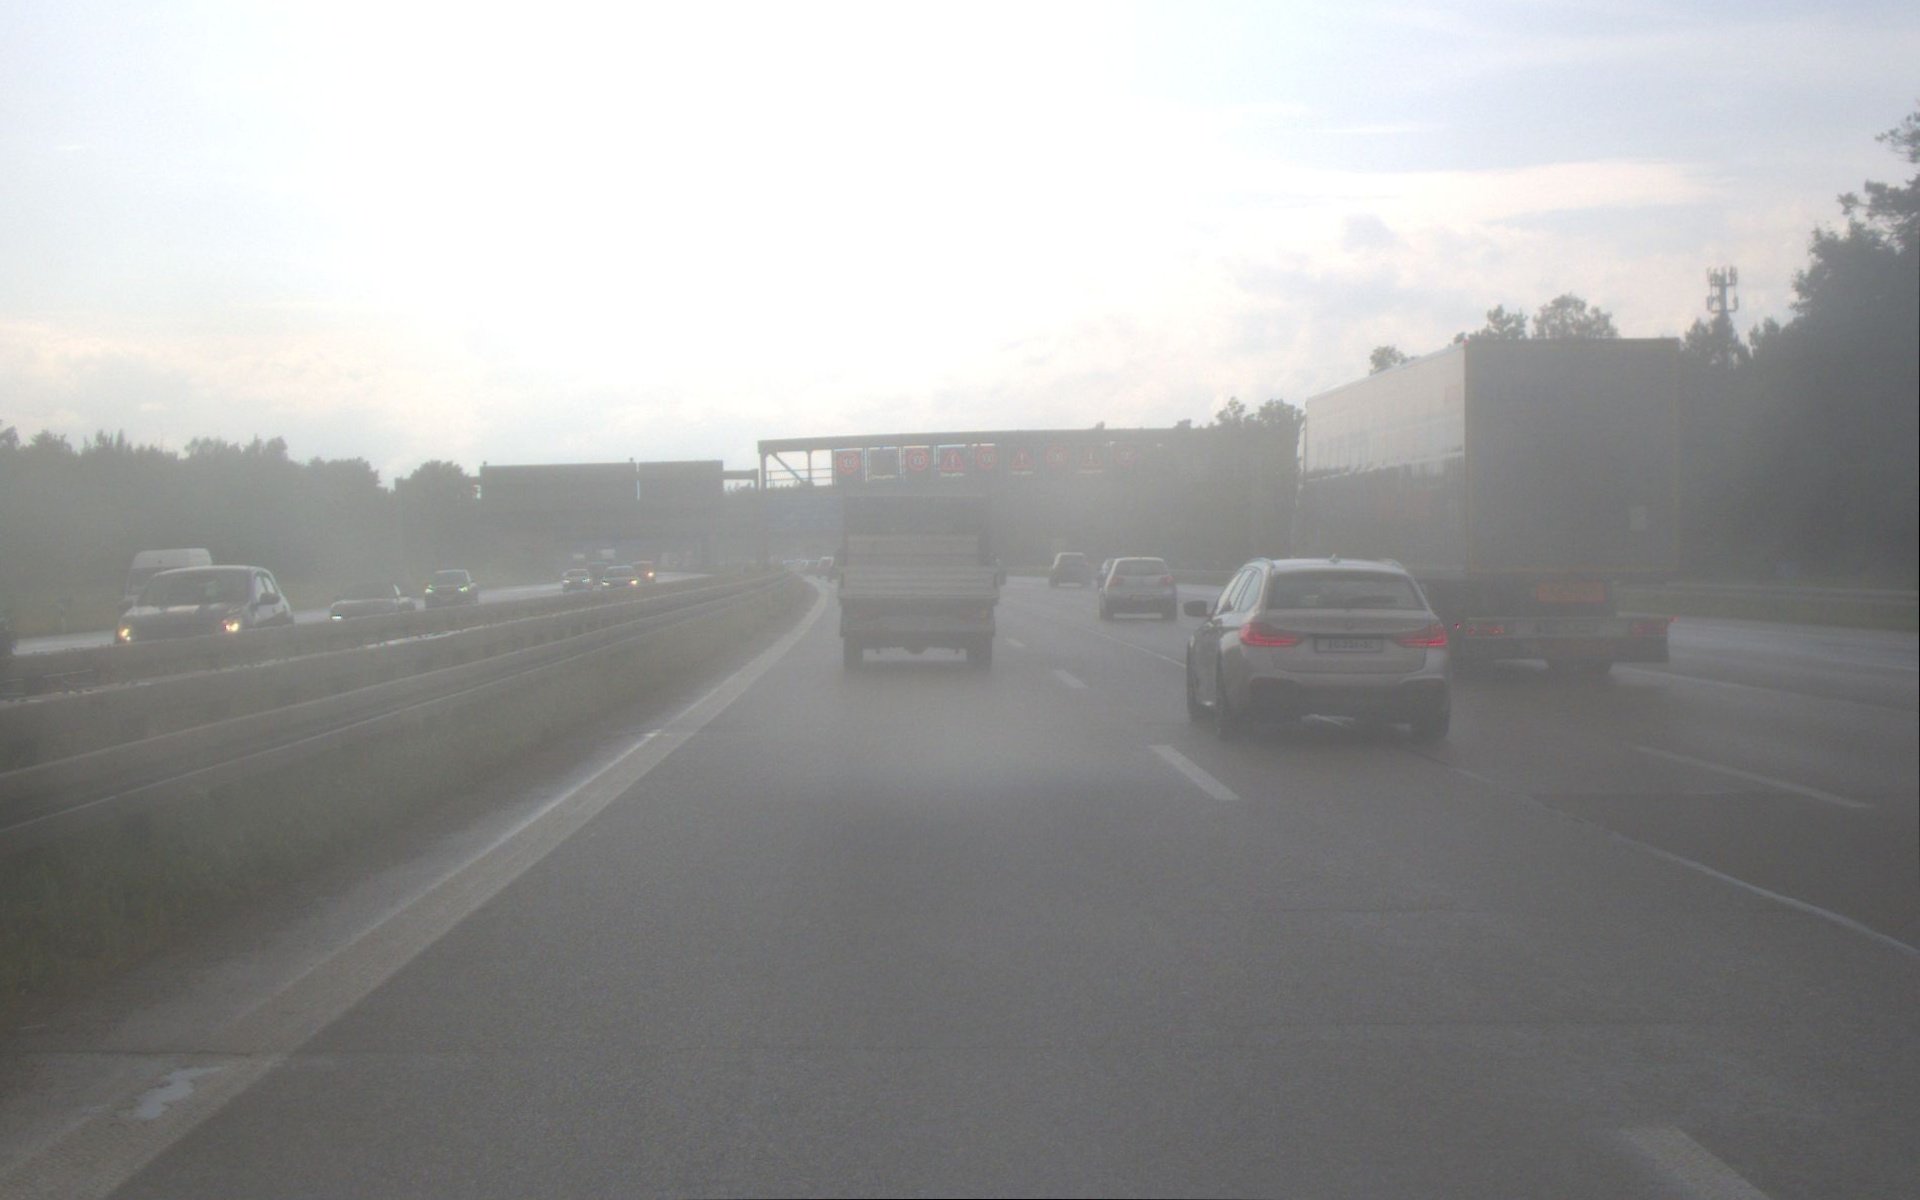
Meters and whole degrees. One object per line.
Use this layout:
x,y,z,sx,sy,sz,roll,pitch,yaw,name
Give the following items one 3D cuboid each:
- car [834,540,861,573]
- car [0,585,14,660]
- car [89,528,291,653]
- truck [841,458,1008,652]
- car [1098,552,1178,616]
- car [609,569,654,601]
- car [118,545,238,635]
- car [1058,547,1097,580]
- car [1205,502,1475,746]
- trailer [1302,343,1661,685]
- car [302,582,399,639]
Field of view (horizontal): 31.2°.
-6.992,-2.698,213.569,1.617,2.007,4.001,1,1,-3,car
-18.373,0.510,61.483,1.697,1.354,4.258,-5,1,-1,car
-10.056,-0.161,45.157,1.770,1.534,4.000,-1,1,-1,car
-0.439,-0.620,46.692,2.137,2.480,5.313,0,1,0,truck
4.251,-0.400,82.473,1.831,1.461,4.000,0,1,2,car
-15.287,-0.719,160.215,1.874,1.426,4.000,-1,1,-3,car
-23.261,-0.344,102.510,2.098,2.502,6.584,-2,1,-1,car
6.065,-1.919,178.213,1.740,1.683,4.000,0,1,-2,car
3.155,0.142,29.174,2.078,1.878,5.010,0,1,5,car
6.755,-1.098,46.816,2.323,3.988,13.413,0,1,-2,trailer
-15.700,0.262,88.721,1.697,1.320,4.668,-2,1,-1,car
